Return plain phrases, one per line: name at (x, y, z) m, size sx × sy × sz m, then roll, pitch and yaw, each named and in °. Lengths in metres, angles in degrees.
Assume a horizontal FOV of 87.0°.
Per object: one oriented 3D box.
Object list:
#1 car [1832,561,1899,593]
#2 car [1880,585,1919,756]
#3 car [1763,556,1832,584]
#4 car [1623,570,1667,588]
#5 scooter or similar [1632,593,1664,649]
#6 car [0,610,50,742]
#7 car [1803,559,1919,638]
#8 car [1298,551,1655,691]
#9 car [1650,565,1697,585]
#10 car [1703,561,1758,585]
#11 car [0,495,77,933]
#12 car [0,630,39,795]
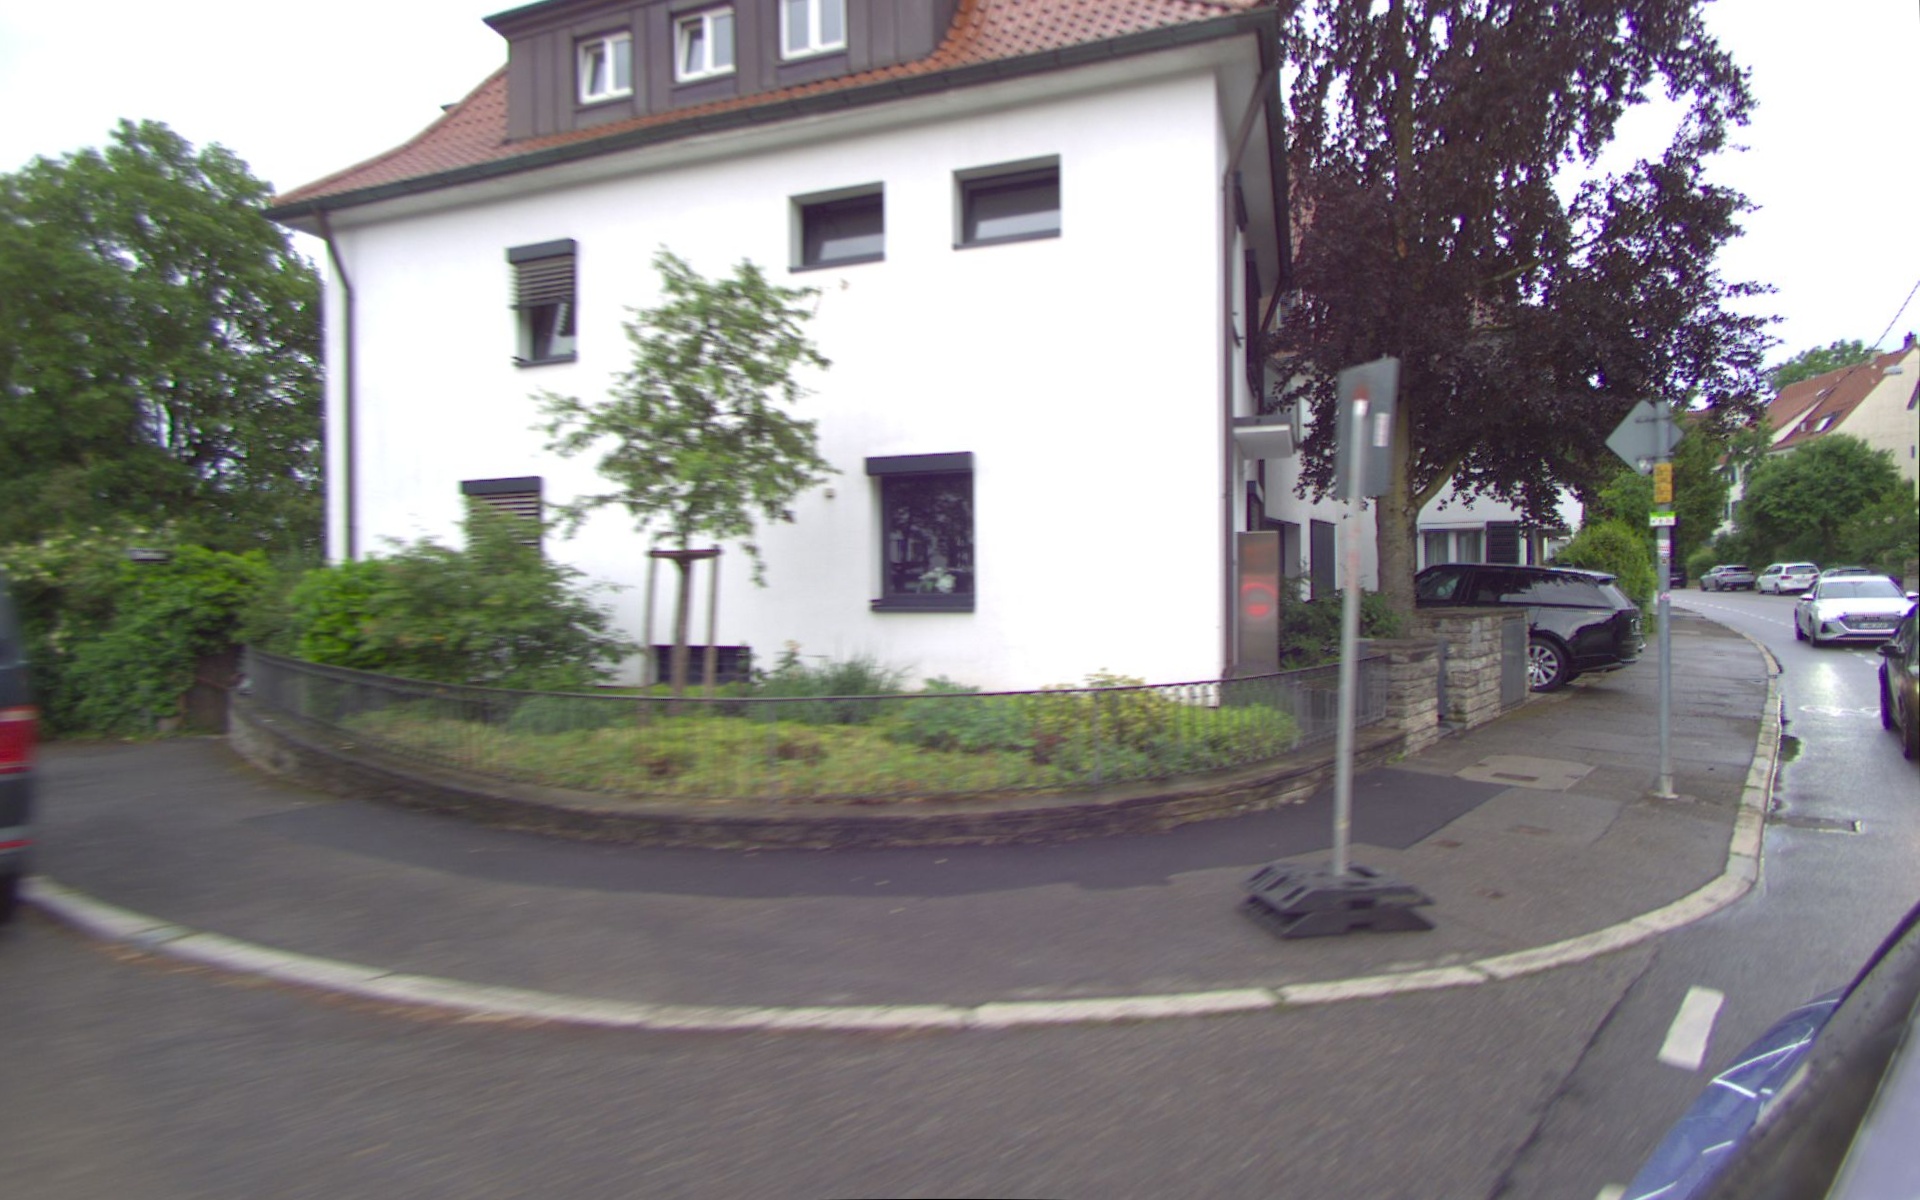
car at (42.161, -1.048, 47.214) m, size 1.667 × 1.390 × 3.402 m, roll -2°, pitch 0°, yaw 31°
car at (10.328, 0.587, 9.782) m, size 1.890 × 1.482 × 3.630 m, roll -2°, pitch 0°, yaw 39°
car at (45.465, -1.611, 55.017) m, size 1.662 × 1.389 × 4.402 m, roll 1°, pitch 1°, yaw 23°
car at (56.077, -1.700, 82.931) m, size 1.657 × 1.390 × 4.414 m, roll -2°, pitch 0°, yaw 16°
scooter or similar at (14.701, 0.427, 21.607) m, size 0.445 × 1.145 × 1.257 m, roll 0°, pitch 1°, yaw 39°
car at (-15.743, 1.156, 14.979) m, size 3.950 × 1.883 × 1.760 m, roll -2°, pitch -1°, yaw 20°
car at (21.451, -0.049, 24.065) m, size 1.785 × 1.720 × 3.842 m, roll -2°, pitch -1°, yaw 35°
car at (8.088, 0.207, 16.127) m, size 4.726 × 1.831 × 1.914 m, roll 4°, pitch 3°, yaw 40°
car at (53.451, -1.848, 75.872) m, size 1.657 × 1.390 × 3.865 m, roll -2°, pitch 0°, yaw 16°
car at (49.007, -1.707, 64.468) m, size 1.661 × 1.390 × 4.402 m, roll -2°, pitch 0°, yaw 23°
car at (-6.590, 0.522, 5.703) m, size 4.904 × 1.972 × 1.911 m, roll 0°, pitch 1°, yaw 43°
car at (-9.963, 1.081, 9.907) m, size 1.300 × 1.460 × 3.259 m, roll 5°, pitch -7°, yaw -42°
